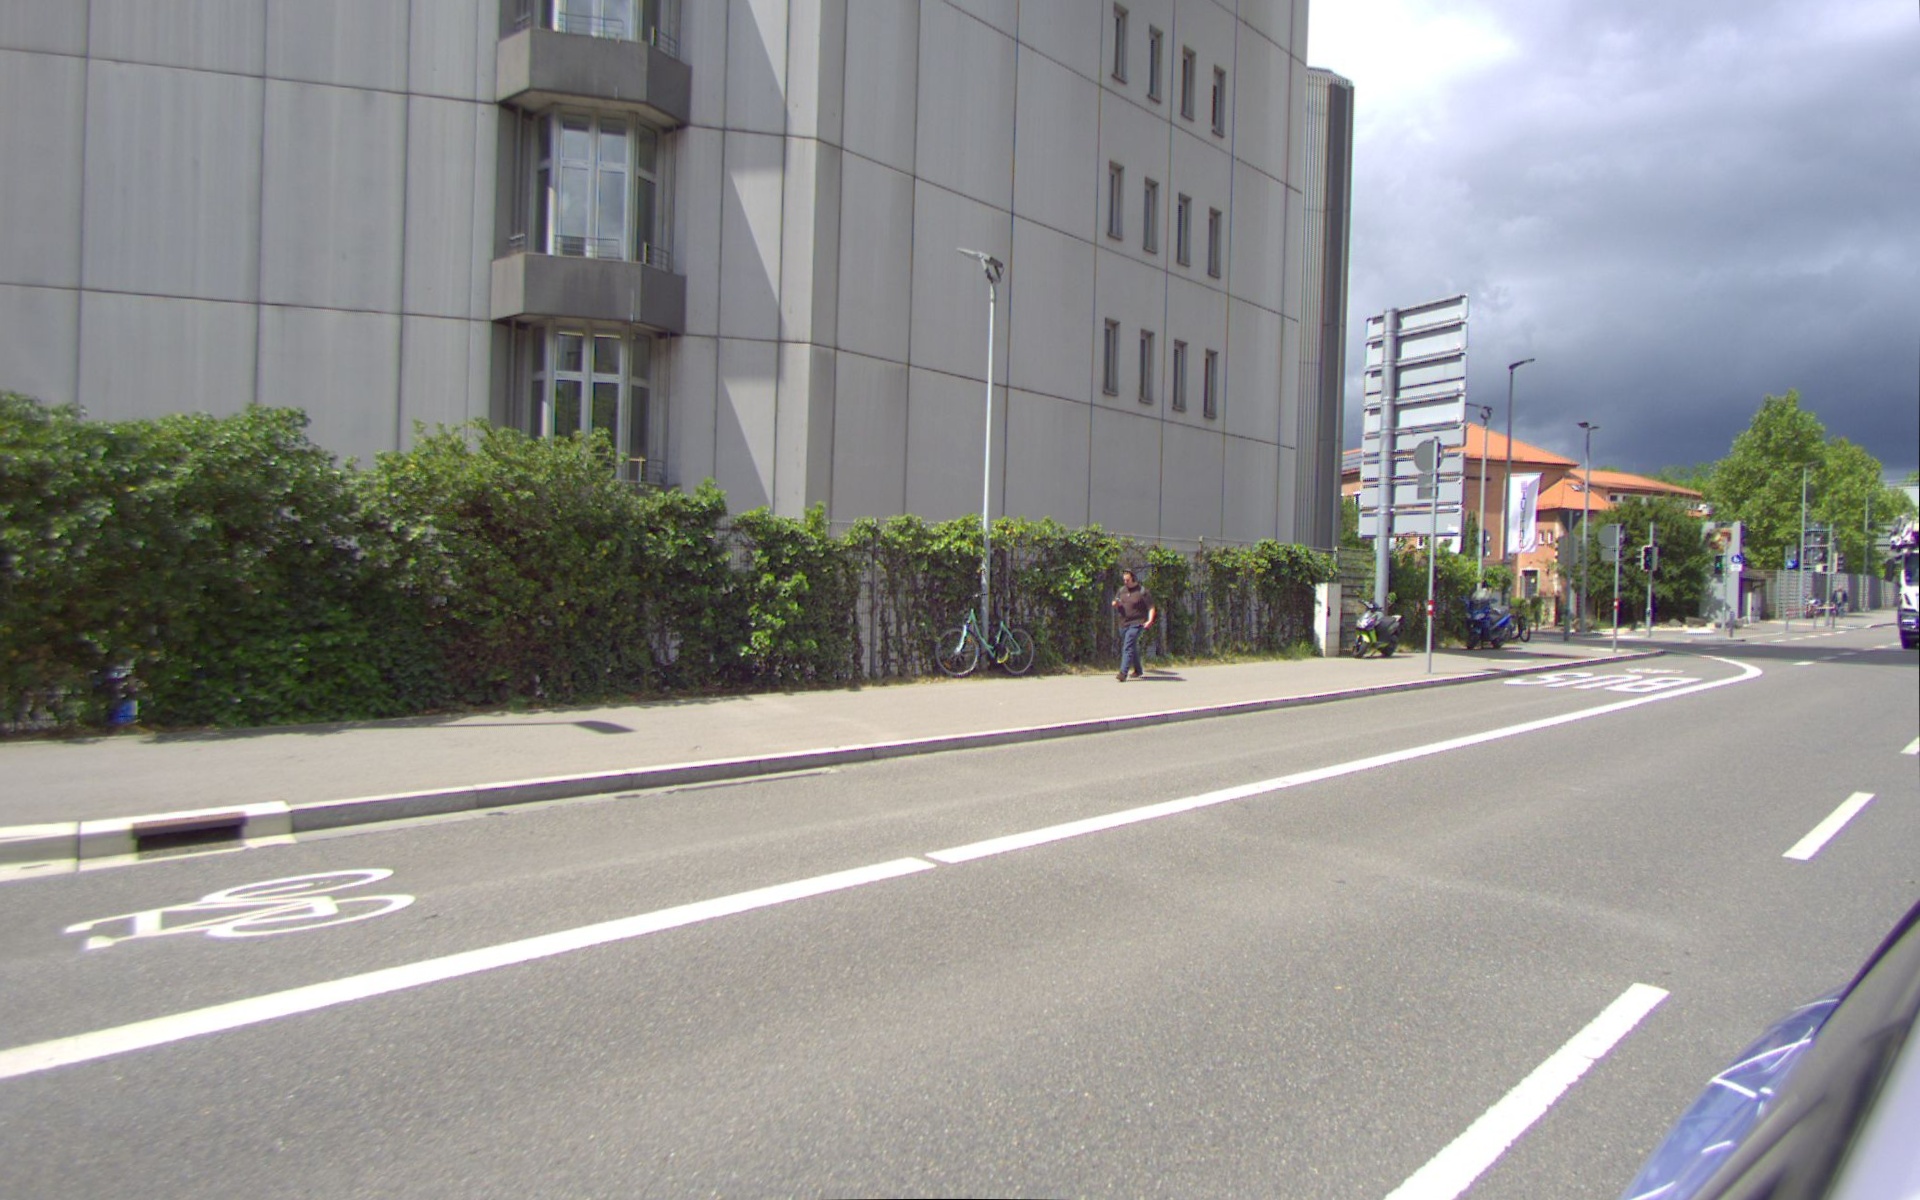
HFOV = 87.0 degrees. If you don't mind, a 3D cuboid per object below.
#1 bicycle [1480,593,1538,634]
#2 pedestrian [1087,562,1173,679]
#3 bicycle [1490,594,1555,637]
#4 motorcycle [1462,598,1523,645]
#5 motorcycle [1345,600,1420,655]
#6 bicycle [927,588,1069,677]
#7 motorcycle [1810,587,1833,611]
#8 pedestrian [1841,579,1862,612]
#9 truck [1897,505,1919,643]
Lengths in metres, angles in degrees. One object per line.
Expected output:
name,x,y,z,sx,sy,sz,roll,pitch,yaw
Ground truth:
bicycle,16.579,0.392,30.634,0.535,1.142,1.889,2,1,-6
pedestrian,2.570,0.282,15.277,0.980,1.665,0.811,0,3,-42
bicycle,16.003,0.420,28.833,0.535,1.142,1.973,2,1,-6
motorcycle,13.161,0.510,24.990,2.001,1.080,0.592,0,3,-41
motorcycle,8.891,0.558,21.244,2.001,1.080,0.592,0,2,-41
bicycle,0.604,0.434,14.799,2.425,1.195,0.444,-1,0,-41
motorcycle,45.819,-0.047,53.796,2.137,1.241,0.570,-1,3,-41
pedestrian,49.001,-0.272,55.616,0.998,1.788,0.728,0,0,-41
truck,31.983,-0.813,31.563,10.551,3.934,2.711,-1,0,-40
